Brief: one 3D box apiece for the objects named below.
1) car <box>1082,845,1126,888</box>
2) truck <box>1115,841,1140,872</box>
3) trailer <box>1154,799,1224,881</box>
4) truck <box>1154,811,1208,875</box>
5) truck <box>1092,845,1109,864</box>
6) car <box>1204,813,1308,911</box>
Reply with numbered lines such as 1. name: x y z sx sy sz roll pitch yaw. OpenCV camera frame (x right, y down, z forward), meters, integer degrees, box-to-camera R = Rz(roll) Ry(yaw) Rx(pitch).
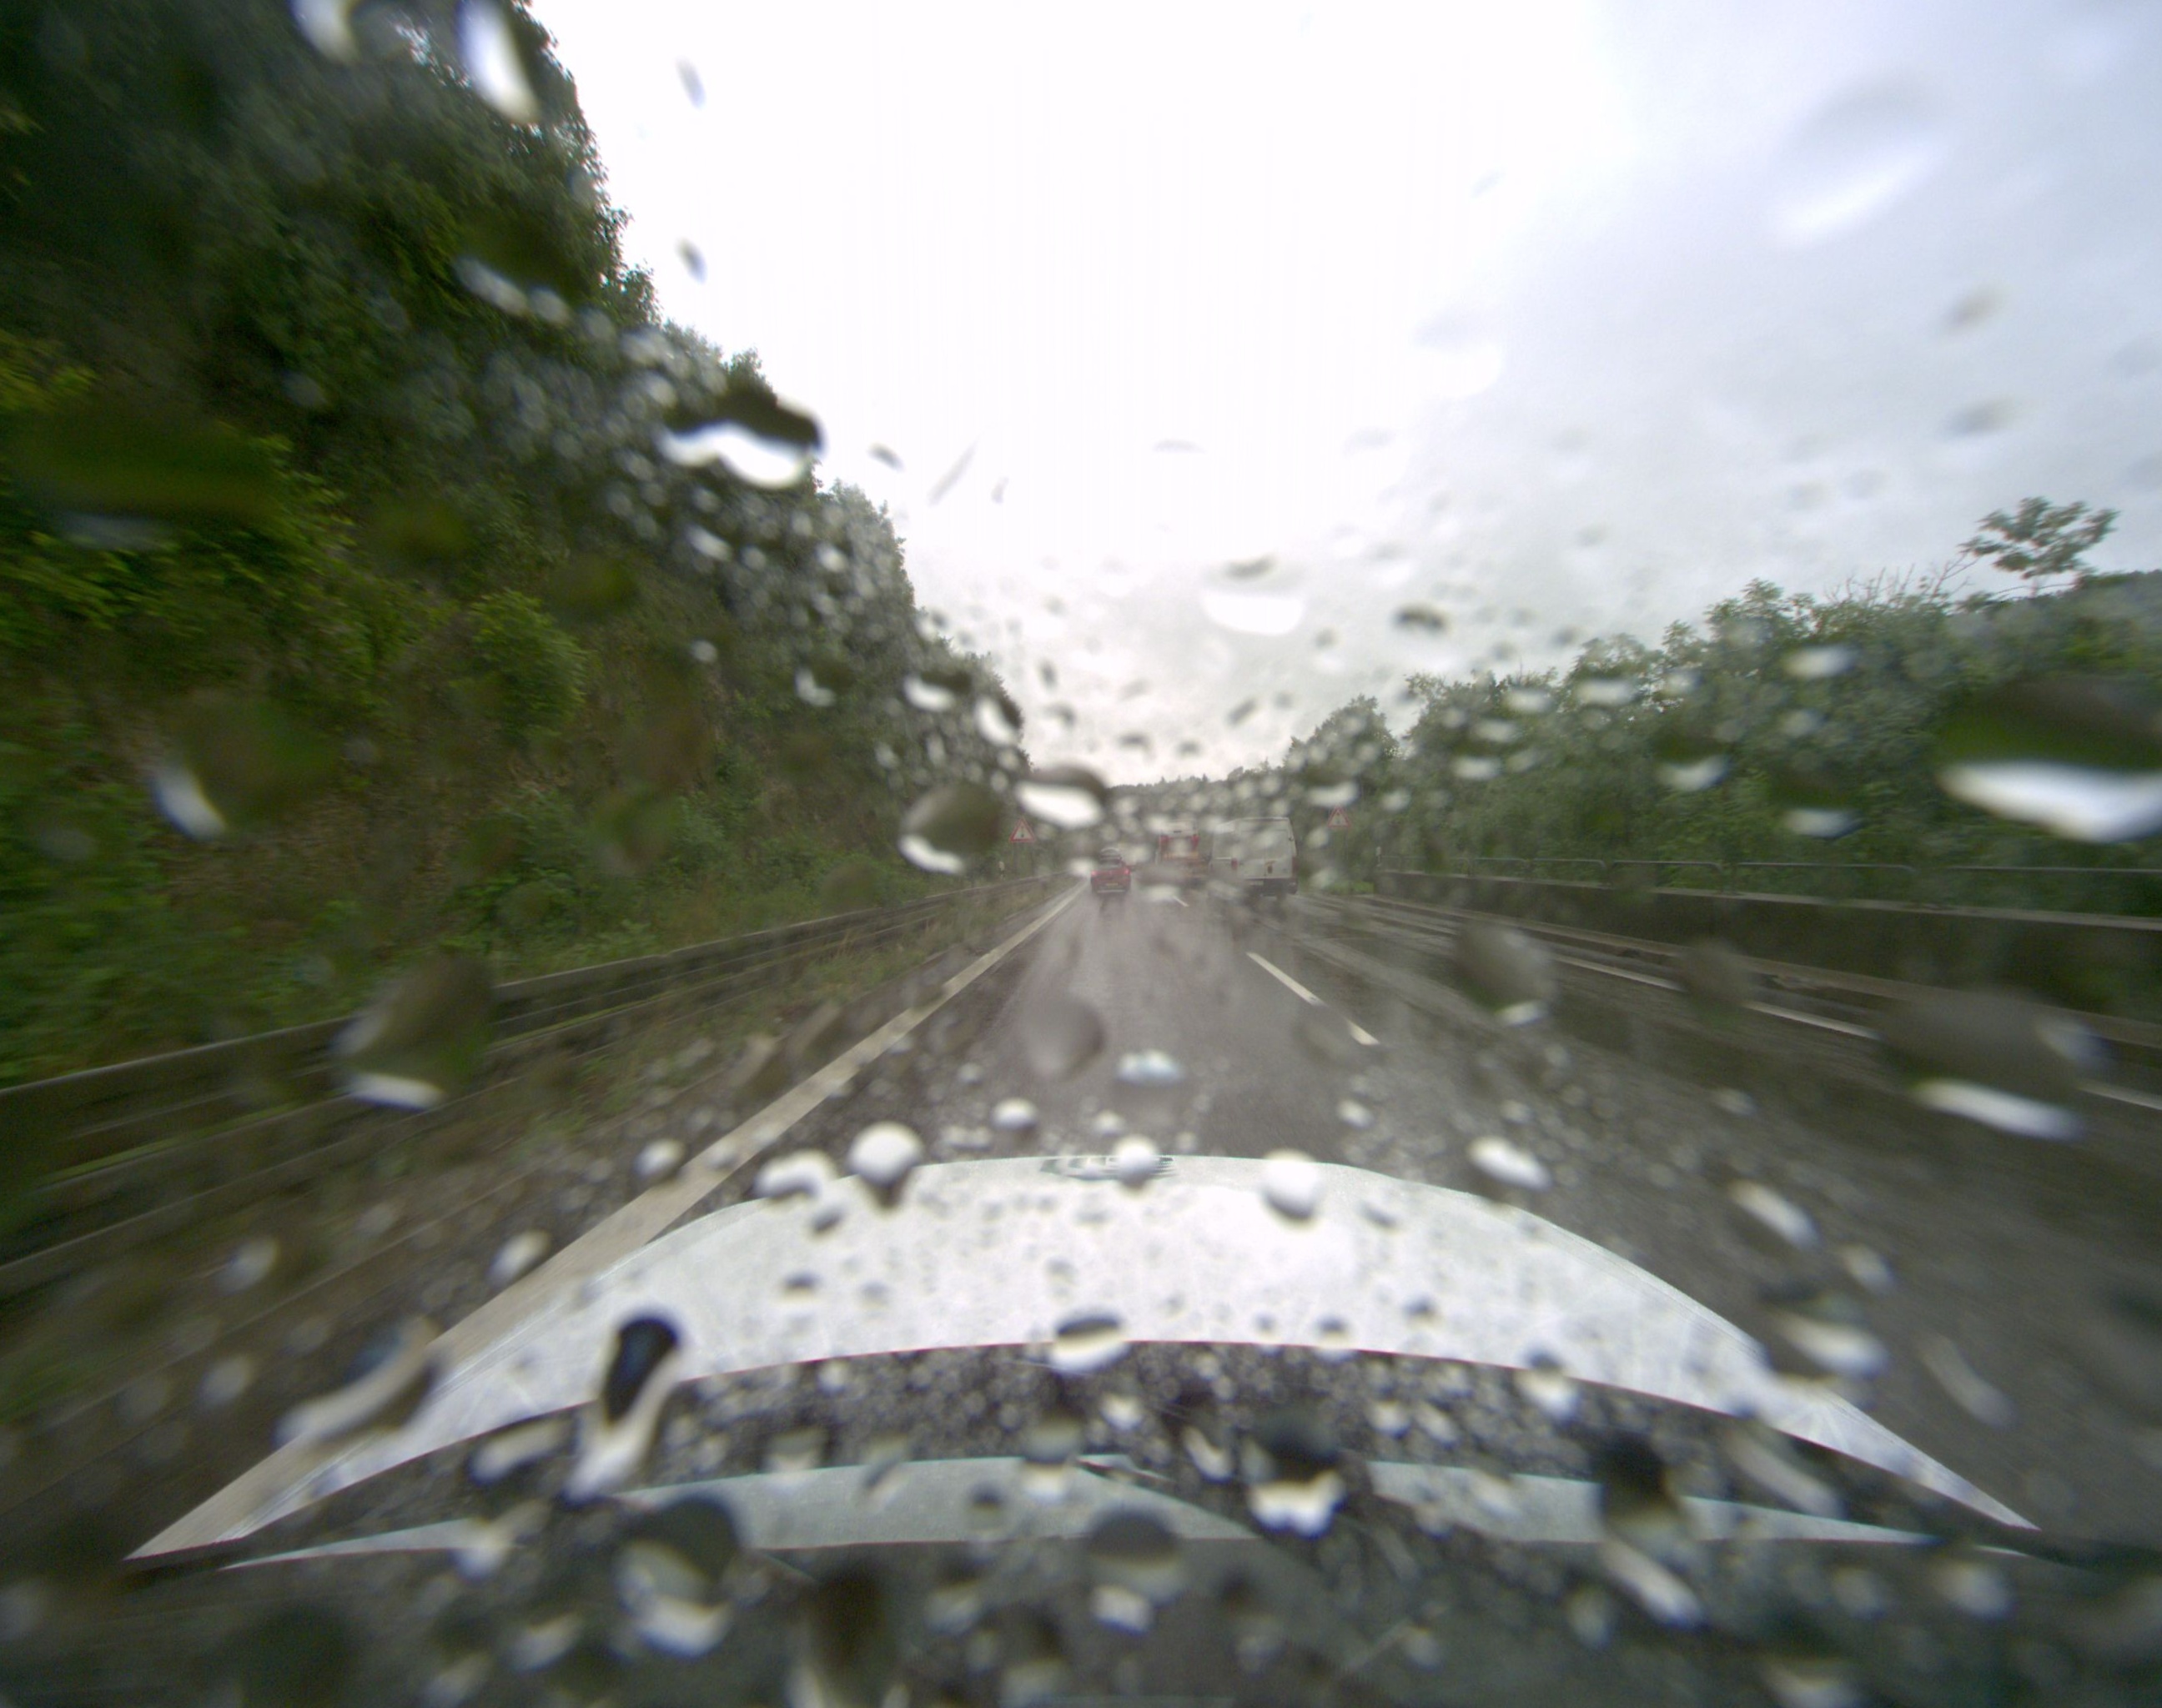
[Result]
1. car: 1.061 0.523 36.167 1.751 1.684 4.003 -3 0 2
2. truck: 6.450 0.337 114.003 2.678 4.094 9.313 -3 0 0
3. trailer: 5.953 -0.676 46.996 3.203 3.999 13.540 -1 0 4
4. truck: 6.495 -0.673 53.632 3.205 3.978 5.445 -1 0 4
5. truck: 3.548 0.051 150.620 3.051 3.311 8.072 -1 0 1
6. car: 5.578 0.222 27.072 2.197 2.794 7.387 0 0 3
